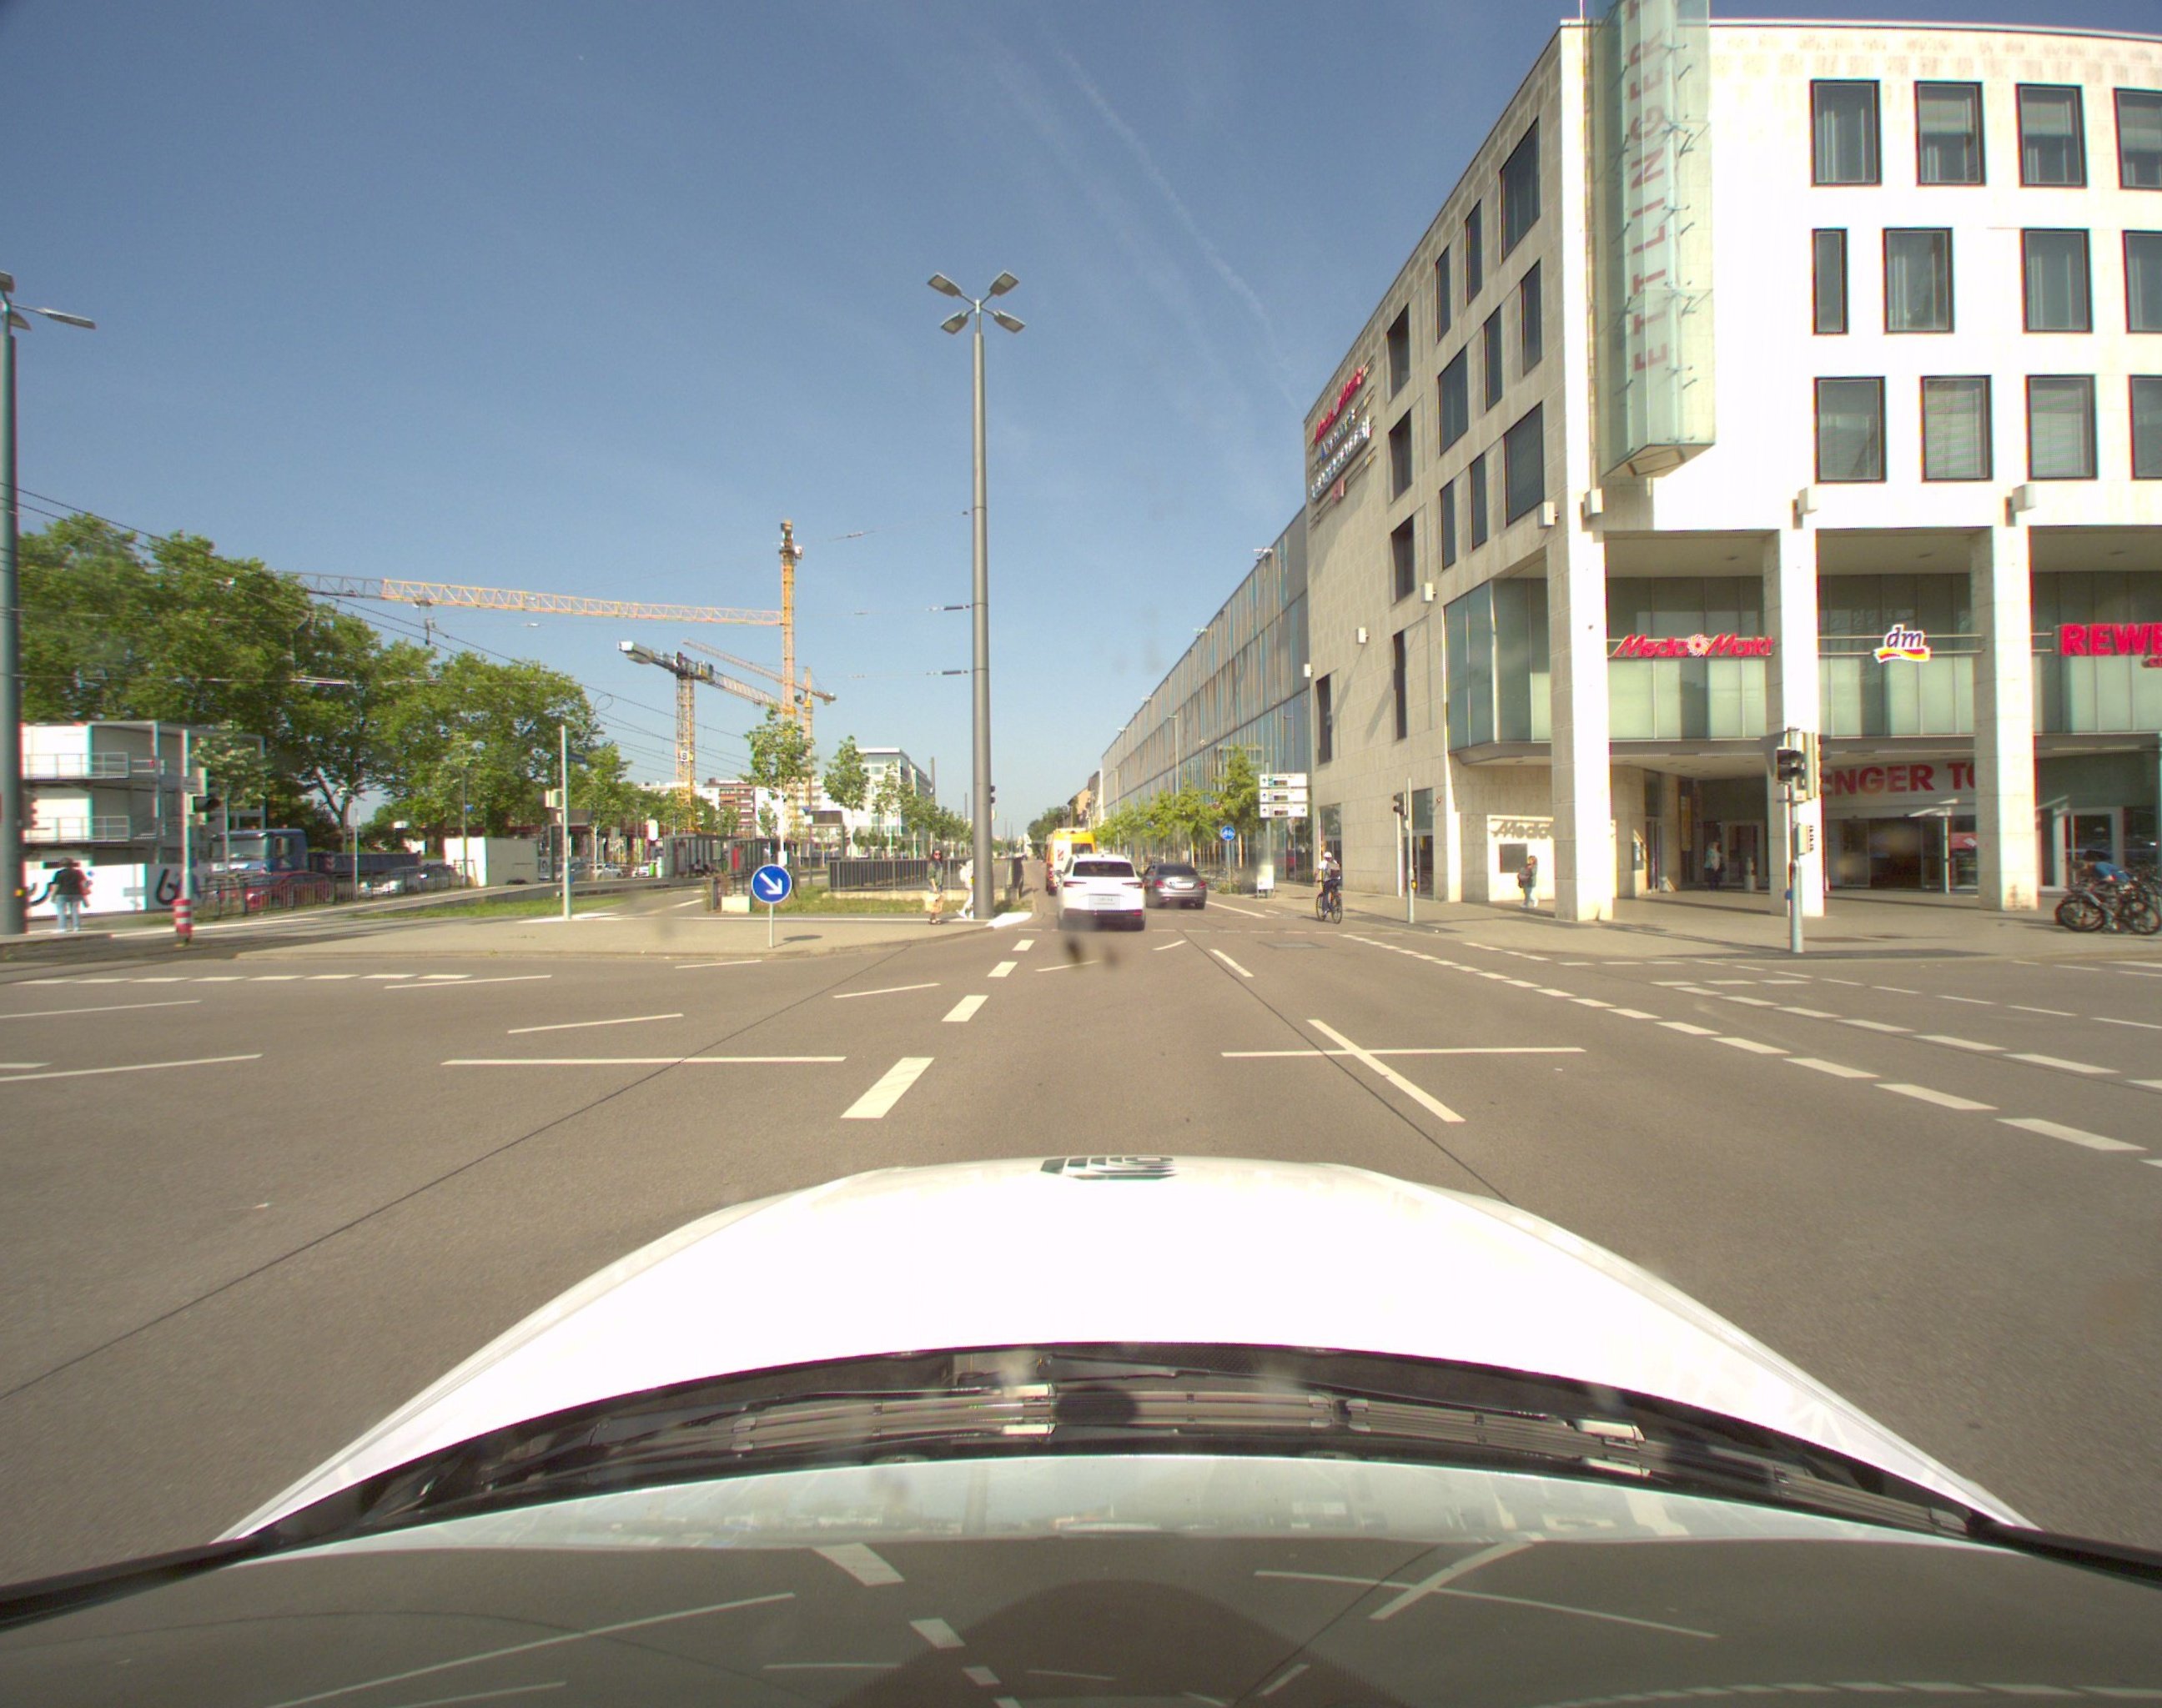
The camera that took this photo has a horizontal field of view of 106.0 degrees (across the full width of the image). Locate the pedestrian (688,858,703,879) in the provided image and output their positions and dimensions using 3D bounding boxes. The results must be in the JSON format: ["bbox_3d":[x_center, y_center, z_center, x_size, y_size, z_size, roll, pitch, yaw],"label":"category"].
[{"bbox_3d":[-24.767,0.945,52.332,0.680,1.300,0.591,-1,0,-8],"label":"pedestrian"}]

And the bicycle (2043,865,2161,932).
[{"bbox_3d":[19.901,0.831,15.696,0.499,1.199,1.790,-1,0,-5],"label":"bicycle"}]

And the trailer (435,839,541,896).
[{"bbox_3d":[-30.625,0.689,42.269,2.041,2.781,5.013,1,-1,-5],"label":"trailer"}]

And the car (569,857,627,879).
[{"bbox_3d":[-36.094,1.026,60.937,1.788,1.582,4.610,-1,0,-4],"label":"car"}]

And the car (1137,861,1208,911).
[{"bbox_3d":[2.879,0.969,26.387,1.755,1.436,4.113,1,0,-1],"label":"car"}]

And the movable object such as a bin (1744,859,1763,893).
[{"bbox_3d":[22.237,0.727,26.934,0.291,1.099,0.355,-1,0,-2],"label":"movable object such as a bin"}]

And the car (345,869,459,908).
[{"bbox_3d":[-29.897,1.477,36.058,1.640,1.469,4.395,-1,0,-5],"label":"car"}]

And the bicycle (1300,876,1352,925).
[{"bbox_3d":[6.199,1.163,20.737,0.659,1.117,2.050,-1,0,-1],"label":"bicycle"}]

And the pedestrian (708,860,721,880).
[{"bbox_3d":[-24.836,1.089,55.200,0.680,1.300,0.591,-1,0,-8],"label":"pedestrian"}]

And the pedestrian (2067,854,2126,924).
[{"bbox_3d":[20.338,0.691,16.318,0.511,1.356,0.546,-1,0,-11],"label":"pedestrian"}]

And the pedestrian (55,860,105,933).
[{"bbox_3d":[-23.504,0.996,19.129,0.368,1.676,0.642,-1,0,12],"label":"pedestrian"}]

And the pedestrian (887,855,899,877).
[{"bbox_3d":[-13.822,0.864,59.920,0.734,1.619,0.709,-1,-1,-5],"label":"pedestrian"}]

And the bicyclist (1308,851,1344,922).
[{"bbox_3d":[6.196,0.813,20.617,0.649,1.749,0.769,-1,0,-2],"label":"bicyclist"}]

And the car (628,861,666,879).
[{"bbox_3d":[-37.347,1.343,70.140,1.593,1.463,3.429,-1,0,-4],"label":"car"}]

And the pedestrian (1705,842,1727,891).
[{"bbox_3d":[22.017,0.435,28.227,0.457,1.678,0.500,-1,0,-39],"label":"pedestrian"}]

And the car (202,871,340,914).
[{"bbox_3d":[-29.621,1.367,29.945,1.719,1.361,3.688,0,0,-8],"label":"car"}]

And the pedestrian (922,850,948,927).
[{"bbox_3d":[-3.199,0.742,17.900,0.466,1.650,0.776,0,0,-4],"label":"pedestrian"}]

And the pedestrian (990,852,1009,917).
[{"bbox_3d":[-2.112,0.774,21.176,0.466,1.650,0.776,0,0,-4],"label":"pedestrian"}]

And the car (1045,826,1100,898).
[{"bbox_3d":[-0.447,0.281,34.419,2.016,2.795,5.393,-1,0,-4],"label":"car"}]

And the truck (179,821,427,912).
[{"bbox_3d":[-34.501,0.482,36.838,3.015,3.586,8.878,-1,0,-4],"label":"truck"}]

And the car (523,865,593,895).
[{"bbox_3d":[-31.240,1.516,48.805,1.717,1.662,4.145,0,0,-4],"label":"car"}]

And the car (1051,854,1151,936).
[{"bbox_3d":[0.324,0.813,18.085,1.866,1.574,3.994,-1,0,-4],"label":"car"}]

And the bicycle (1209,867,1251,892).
[{"bbox_3d":[7.041,1.195,38.414,1.874,1.109,0.490,-1,0,-3],"label":"bicycle"}]

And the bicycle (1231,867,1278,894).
[{"bbox_3d":[7.287,1.109,34.249,1.835,1.113,0.686,1,0,-3],"label":"bicycle"}]

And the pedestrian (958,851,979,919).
[{"bbox_3d":[-2.766,0.754,20.091,0.466,1.650,0.776,0,0,-4],"label":"pedestrian"}]

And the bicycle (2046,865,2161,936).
[{"bbox_3d":[19.251,0.826,14.935,0.611,1.237,2.068,-1,0,-2],"label":"bicycle"}]

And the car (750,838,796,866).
[{"bbox_3d":[-40.096,-0.229,106.361,3.049,3.513,9.218,0,0,-5],"label":"car"}]

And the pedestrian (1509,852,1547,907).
[{"bbox_3d":[12.553,0.706,22.858,0.706,1.487,0.603,-1,0,-5],"label":"pedestrian"}]
